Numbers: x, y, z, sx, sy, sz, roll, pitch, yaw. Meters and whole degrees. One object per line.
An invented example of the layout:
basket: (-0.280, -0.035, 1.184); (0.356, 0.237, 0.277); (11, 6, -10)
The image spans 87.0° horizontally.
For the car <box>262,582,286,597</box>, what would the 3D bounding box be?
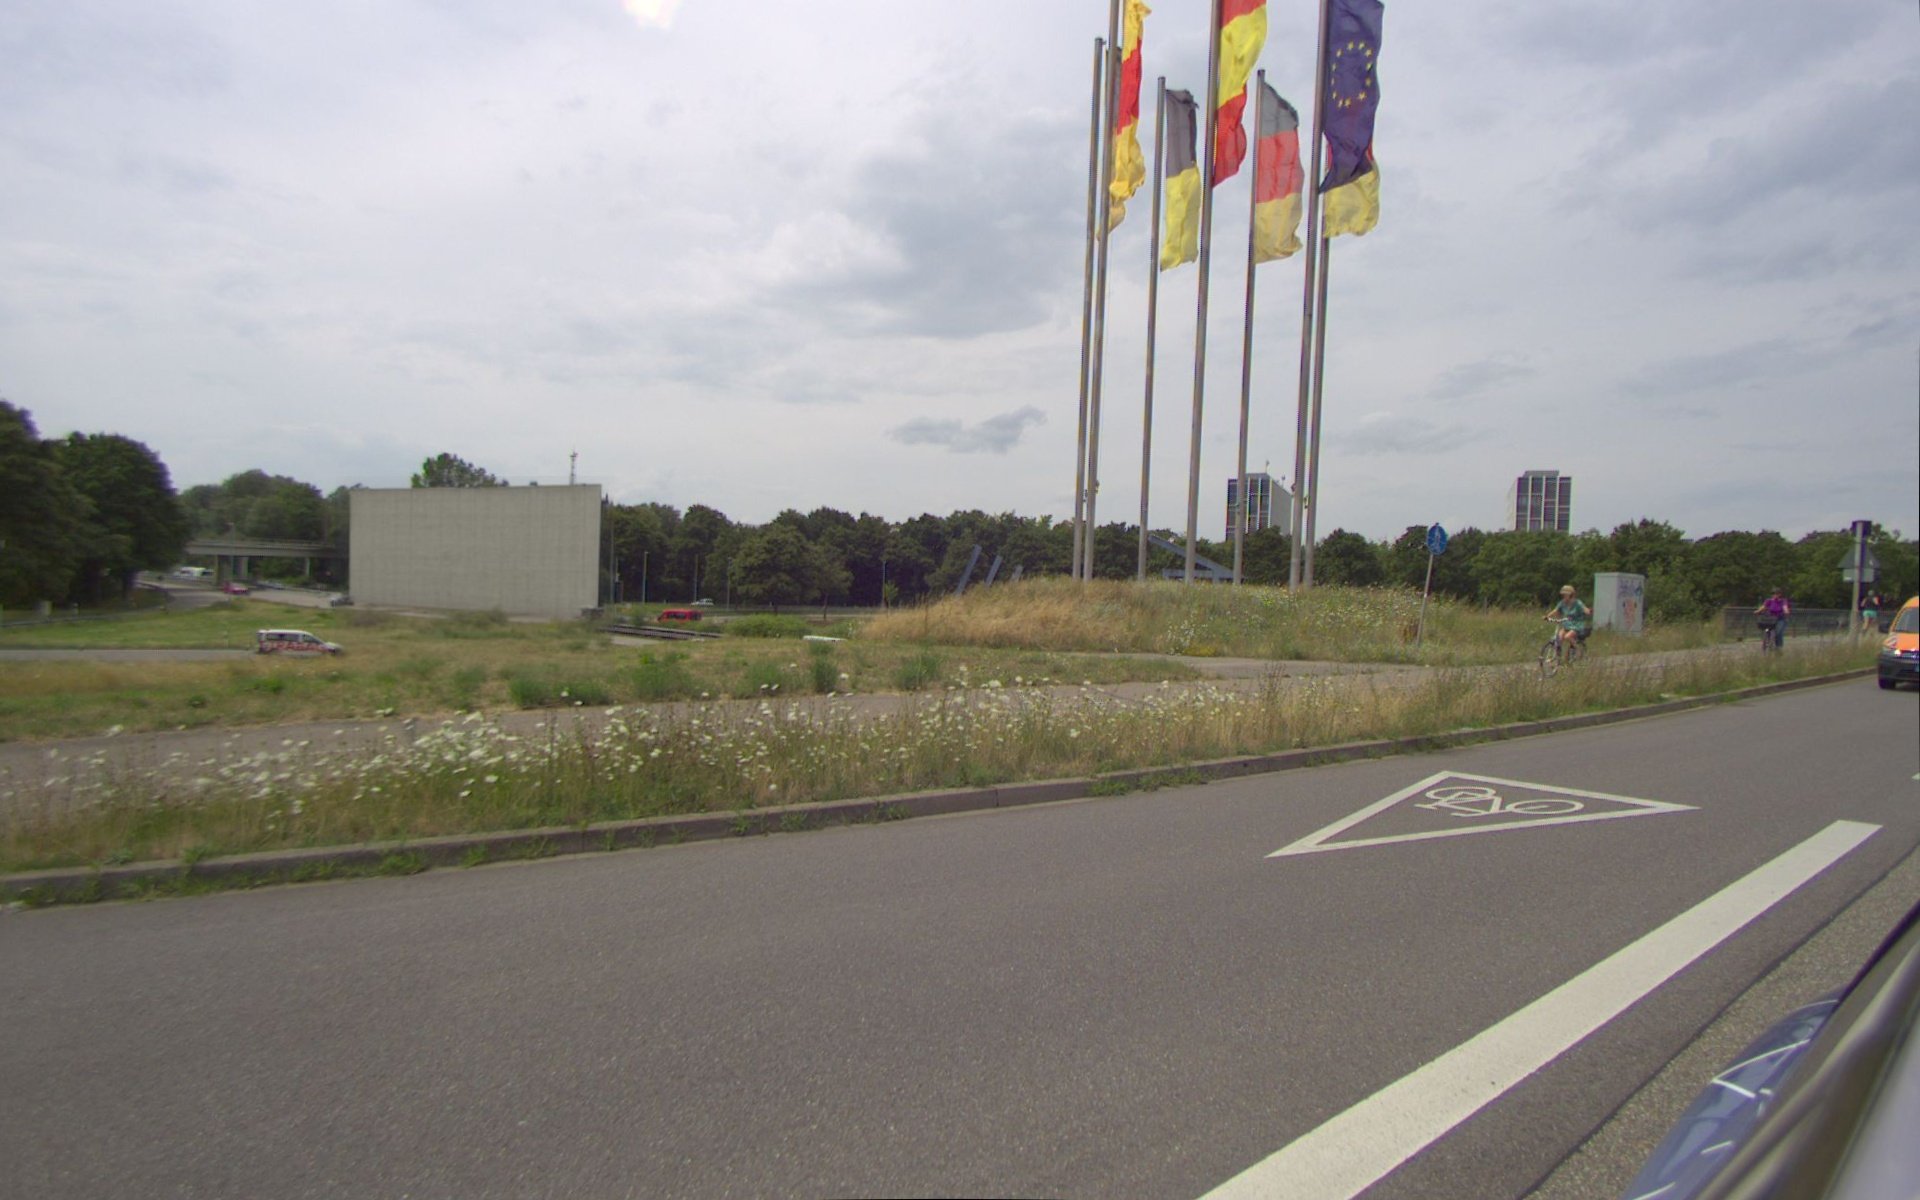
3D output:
car: (-104.297, -1.580, 153.896); (3.977, 2.039, 1.853); (2, 0, 37)

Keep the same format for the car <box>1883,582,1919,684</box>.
car: (19.315, 0.646, 19.390); (4.352, 1.859, 1.891); (2, -1, -41)

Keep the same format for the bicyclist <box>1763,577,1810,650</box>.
bicyclist: (20.554, 0.329, 25.167); (0.974, 1.777, 0.704); (1, 1, -41)

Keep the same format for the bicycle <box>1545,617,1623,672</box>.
bicycle: (11.440, 0.792, 18.523); (2.117, 0.899, 0.624); (0, 1, -41)

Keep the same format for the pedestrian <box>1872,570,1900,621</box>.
pedestrian: (37.460, -0.187, 40.924); (0.656, 2.038, 0.629); (2, 2, -39)

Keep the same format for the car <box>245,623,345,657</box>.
car: (-43.010, 2.571, 65.514); (5.158, 2.039, 1.997); (2, 0, -41)

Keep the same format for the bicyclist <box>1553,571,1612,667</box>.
bicyclist: (11.324, 0.341, 18.413); (0.657, 1.686, 0.623); (2, 3, -41)

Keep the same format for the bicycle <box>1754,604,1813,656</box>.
bicycle: (20.455, 0.725, 25.123); (2.418, 1.207, 0.695); (1, 1, -41)

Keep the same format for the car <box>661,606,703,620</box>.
car: (-29.818, 1.369, 108.403); (4.296, 1.453, 1.822); (0, -1, 29)

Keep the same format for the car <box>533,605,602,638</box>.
car: (-35.249, 1.874, 90.868); (6.042, 2.691, 2.532); (2, 0, 31)

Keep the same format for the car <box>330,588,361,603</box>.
car: (-85.209, -0.617, 140.398); (3.964, 2.039, 1.980); (0, -1, 29)
